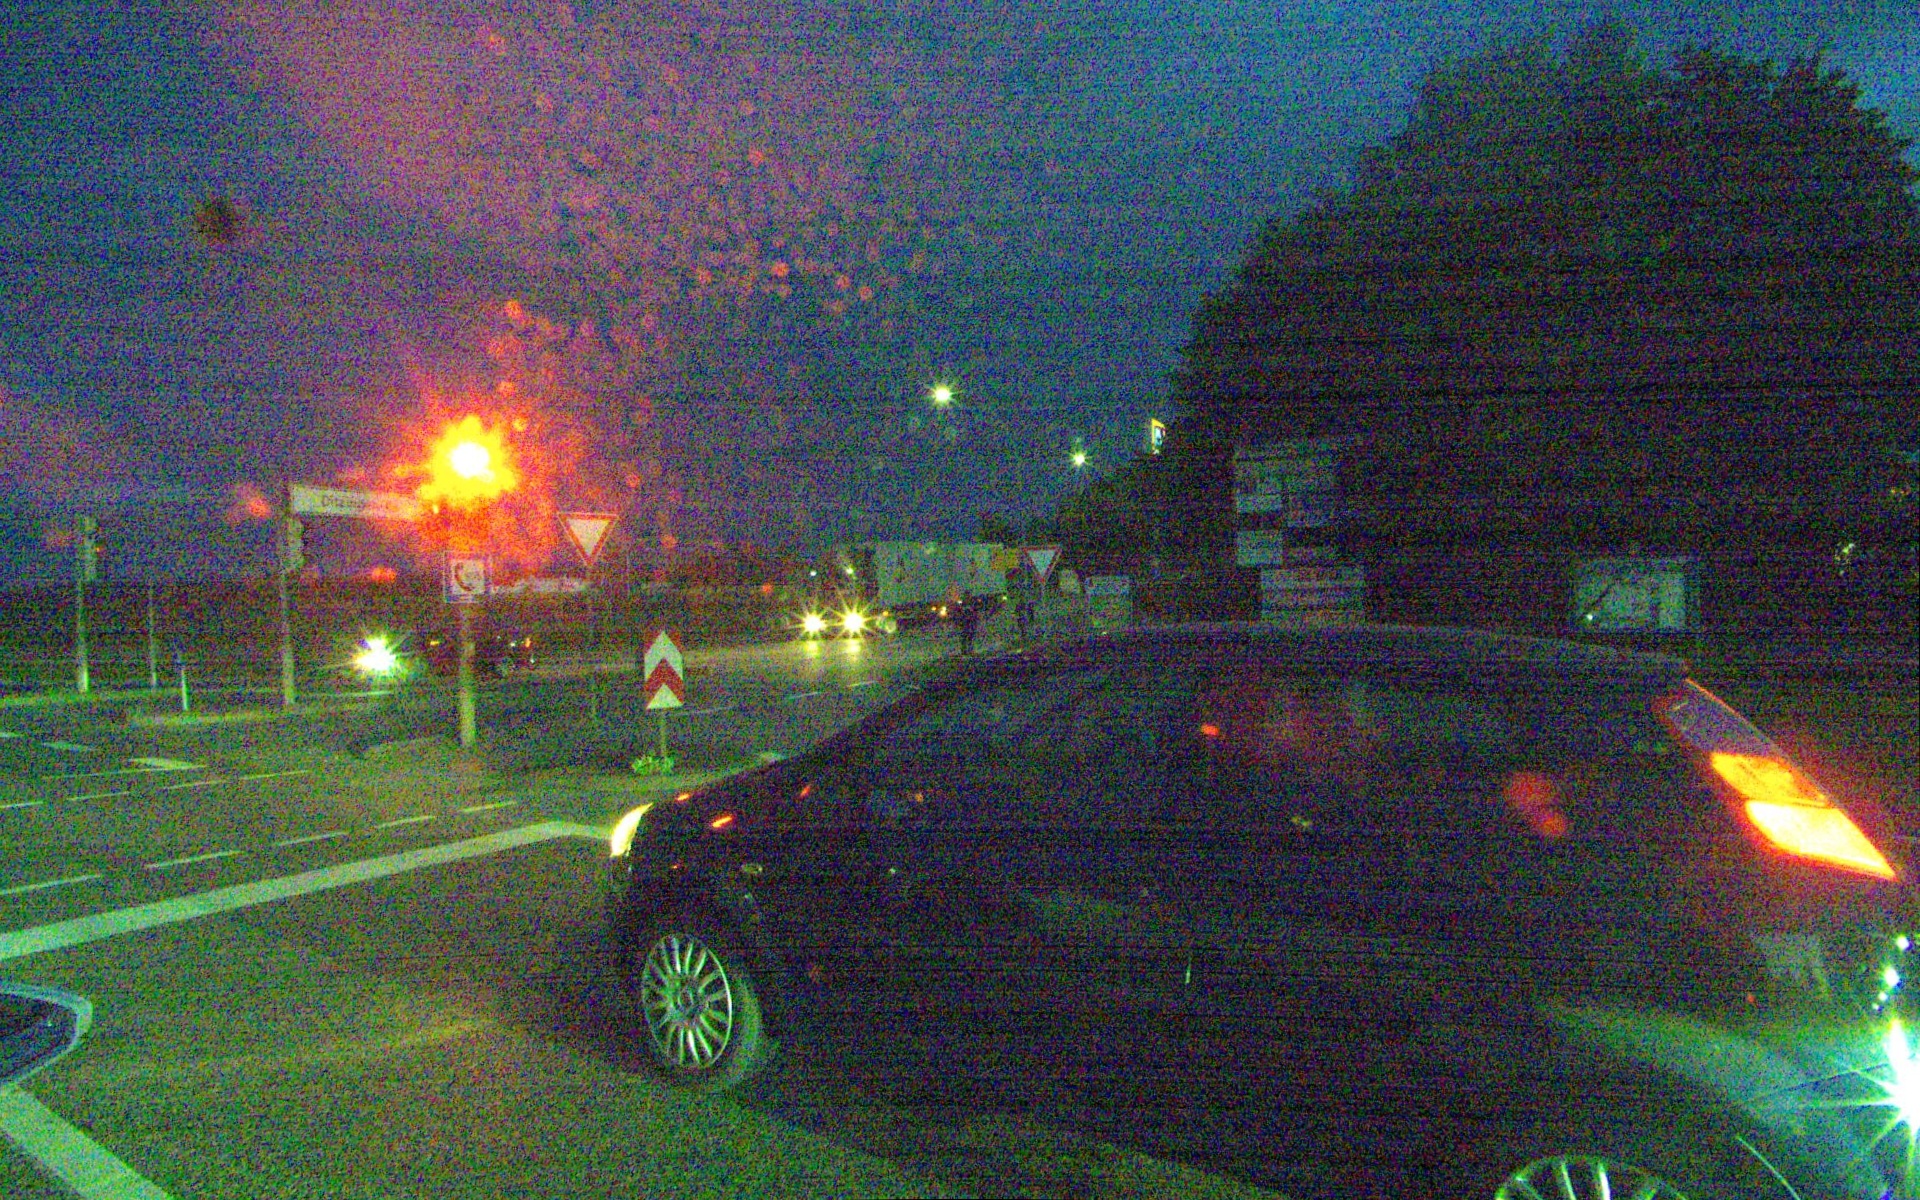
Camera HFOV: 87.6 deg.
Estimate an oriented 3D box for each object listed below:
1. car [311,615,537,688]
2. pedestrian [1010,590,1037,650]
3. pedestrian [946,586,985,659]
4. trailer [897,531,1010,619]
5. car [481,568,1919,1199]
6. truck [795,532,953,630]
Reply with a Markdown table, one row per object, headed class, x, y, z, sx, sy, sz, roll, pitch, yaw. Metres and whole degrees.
| class | x | y | z | sx | sy | sz | roll | pitch | yaw |
| --- | --- | --- | --- | --- | --- | --- | --- | --- | --- |
| car | -13.192 | 1.194 | 24.941 | 1.972 | 1.541 | 4.590 | 0 | 1 | 33 |
| pedestrian | 2.087 | 0.651 | 32.799 | 0.860 | 1.925 | 0.660 | -1 | 1 | 6 |
| pedestrian | 0.151 | 0.583 | 26.390 | 0.861 | 1.859 | 0.731 | -3 | 1 | 6 |
| trailer | -0.137 | -1.425 | 54.914 | 2.875 | 4.361 | 9.043 | -1 | 2 | 22 |
| car | 0.351 | 0.762 | 3.292 | 4.049 | 1.540 | 1.666 | -1 | -1 | 34 |
| truck | -3.625 | -0.836 | 46.148 | 2.875 | 4.033 | 10.042 | 0 | 1 | 23 |
